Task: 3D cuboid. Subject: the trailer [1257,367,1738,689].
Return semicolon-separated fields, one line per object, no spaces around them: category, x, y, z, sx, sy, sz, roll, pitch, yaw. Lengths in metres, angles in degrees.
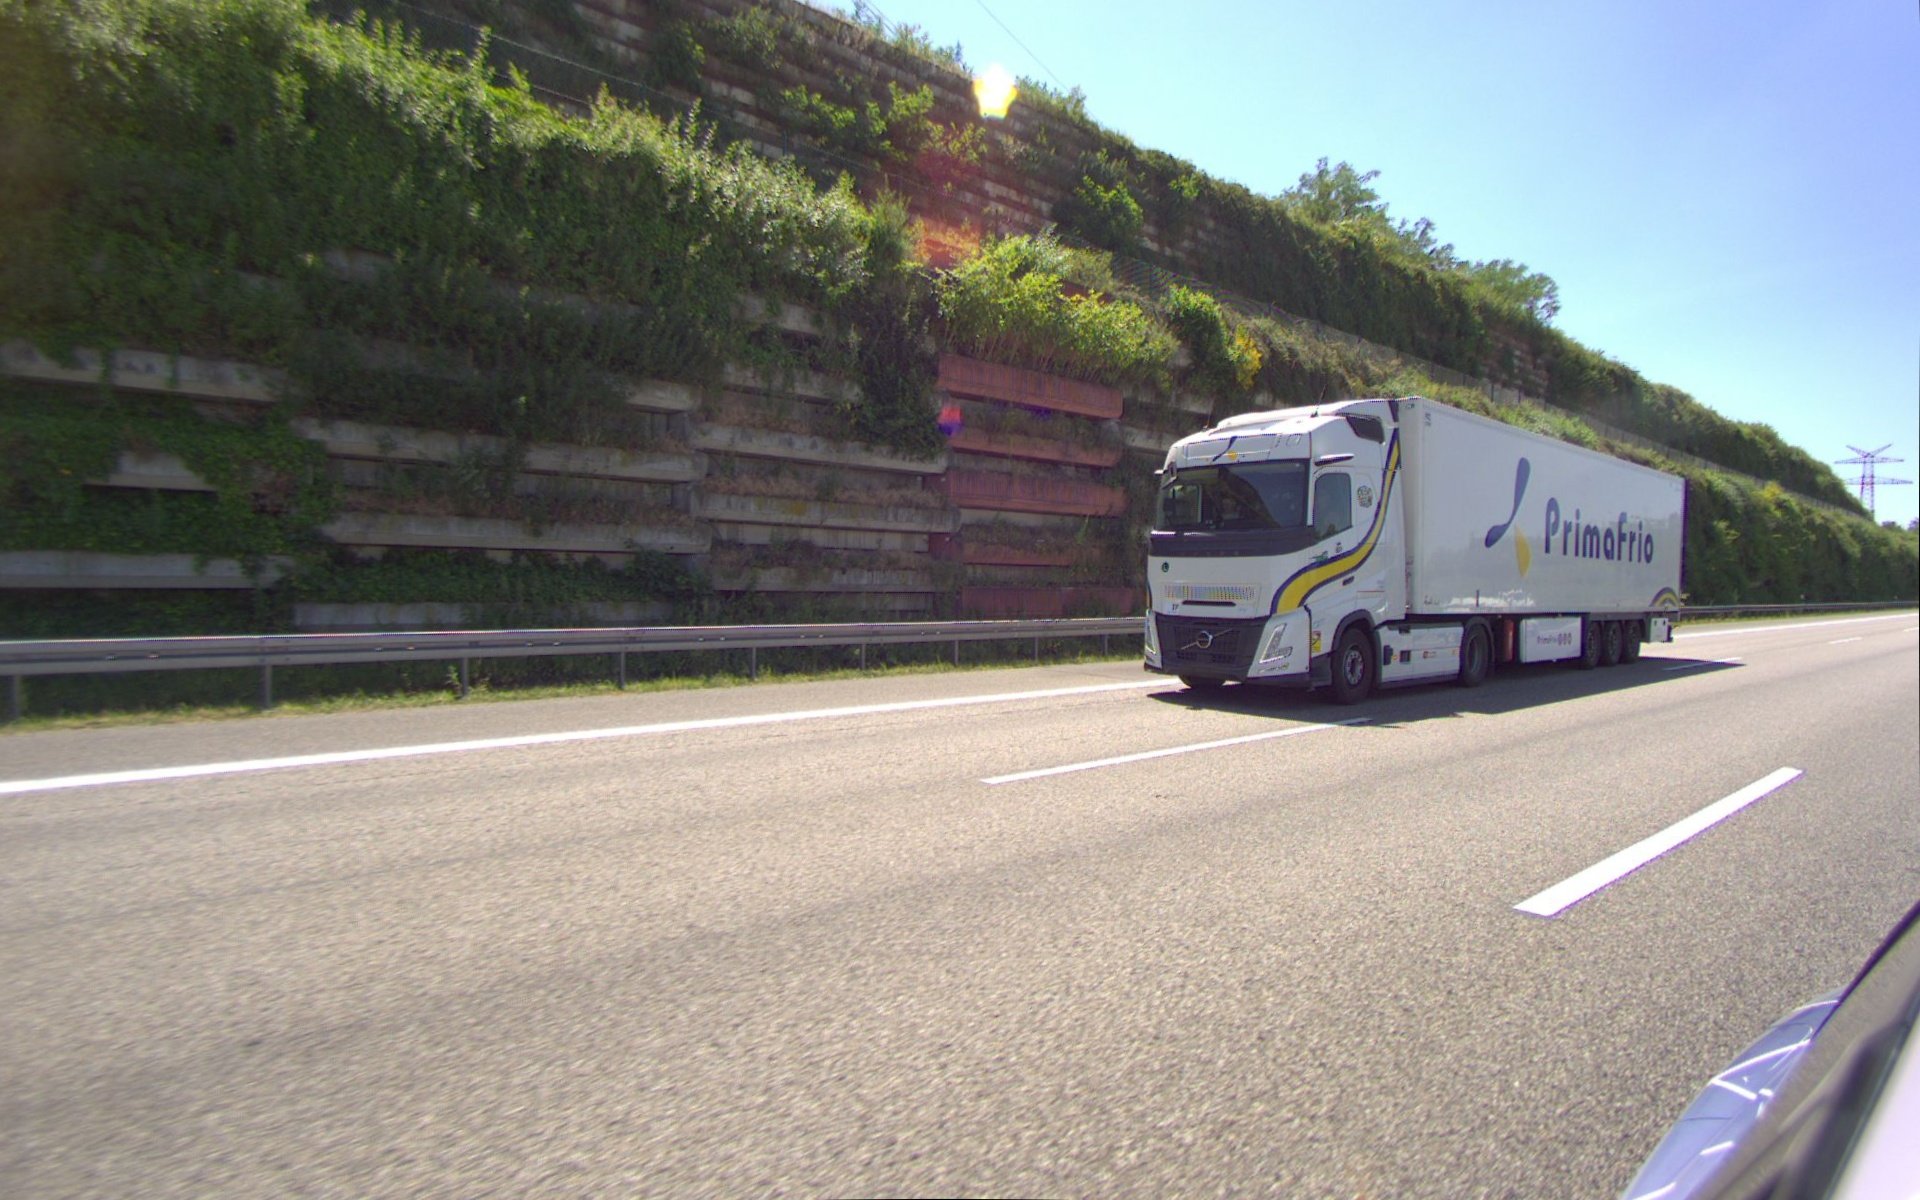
trailer;11.638;-1.034;19.891;16.731;4.264;2.519;0;2;-41

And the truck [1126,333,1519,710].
truck;5.365;-0.962;14.434;6.146;4.272;2.513;-1;2;-41
